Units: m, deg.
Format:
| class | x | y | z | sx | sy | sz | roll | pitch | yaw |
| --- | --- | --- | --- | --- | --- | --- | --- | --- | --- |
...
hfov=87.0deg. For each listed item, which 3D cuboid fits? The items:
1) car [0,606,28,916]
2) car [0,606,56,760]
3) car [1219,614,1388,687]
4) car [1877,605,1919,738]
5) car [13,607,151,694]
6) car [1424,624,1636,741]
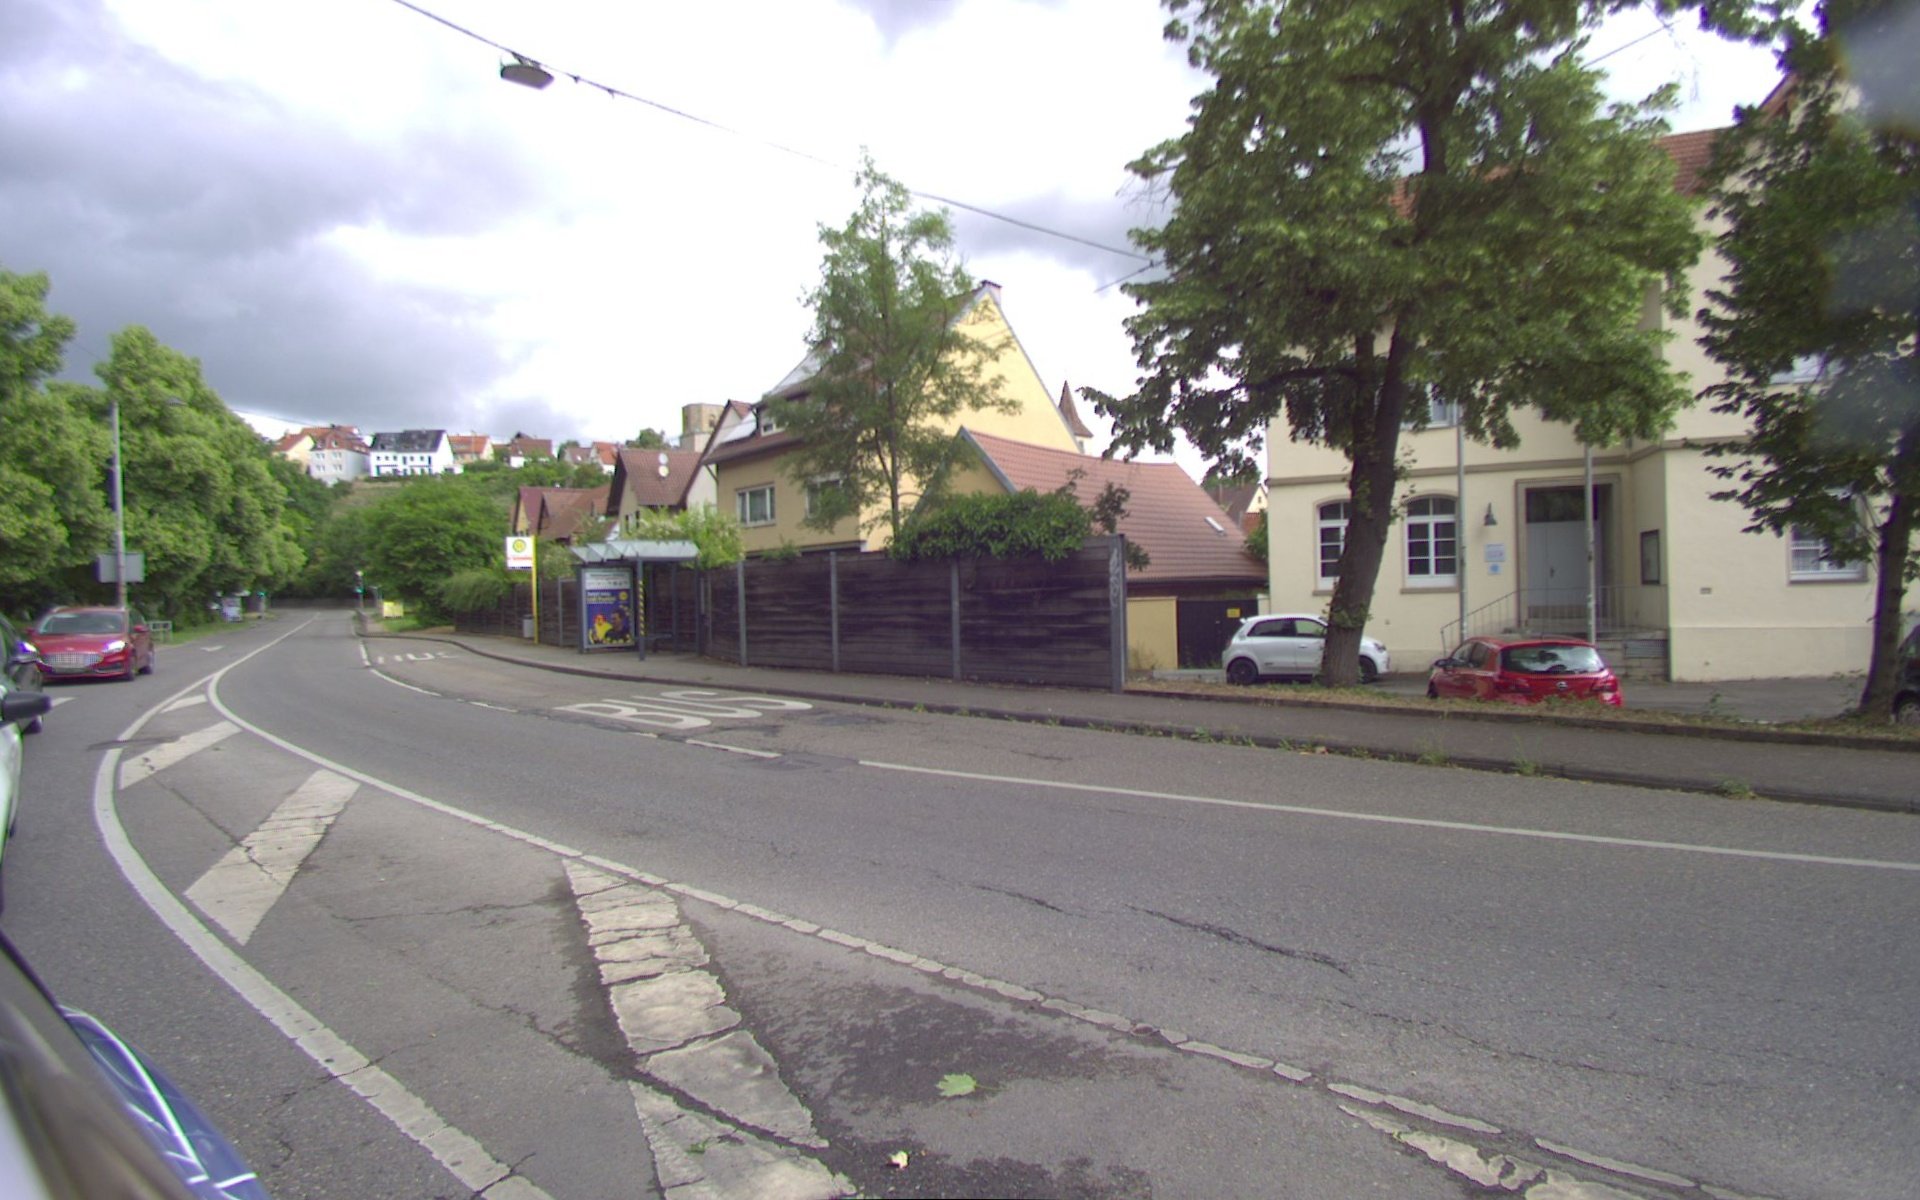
| class | x | y | z | sx | sy | sz | roll | pitch | yaw |
| --- | --- | --- | --- | --- | --- | --- | --- | --- | --- |
| car | -6.039 | 0.814 | 5.276 | 1.594 | 1.525 | 3.610 | -1 | 0 | -41 |
| car | -11.482 | 0.871 | 11.354 | 1.698 | 1.559 | 3.790 | -1 | 0 | -37 |
| car | 7.738 | 1.107 | 22.925 | 3.487 | 1.528 | 1.581 | -1 | 0 | 20 |
| car | 12.691 | 0.888 | 11.587 | 1.586 | 1.644 | 3.093 | -1 | 0 | 2 |
| car | -19.247 | 1.029 | 22.361 | 1.799 | 1.685 | 4.069 | -1 | 0 | -34 |
| car | 8.117 | 1.103 | 14.770 | 1.590 | 1.389 | 3.544 | -1 | 0 | 10 |
